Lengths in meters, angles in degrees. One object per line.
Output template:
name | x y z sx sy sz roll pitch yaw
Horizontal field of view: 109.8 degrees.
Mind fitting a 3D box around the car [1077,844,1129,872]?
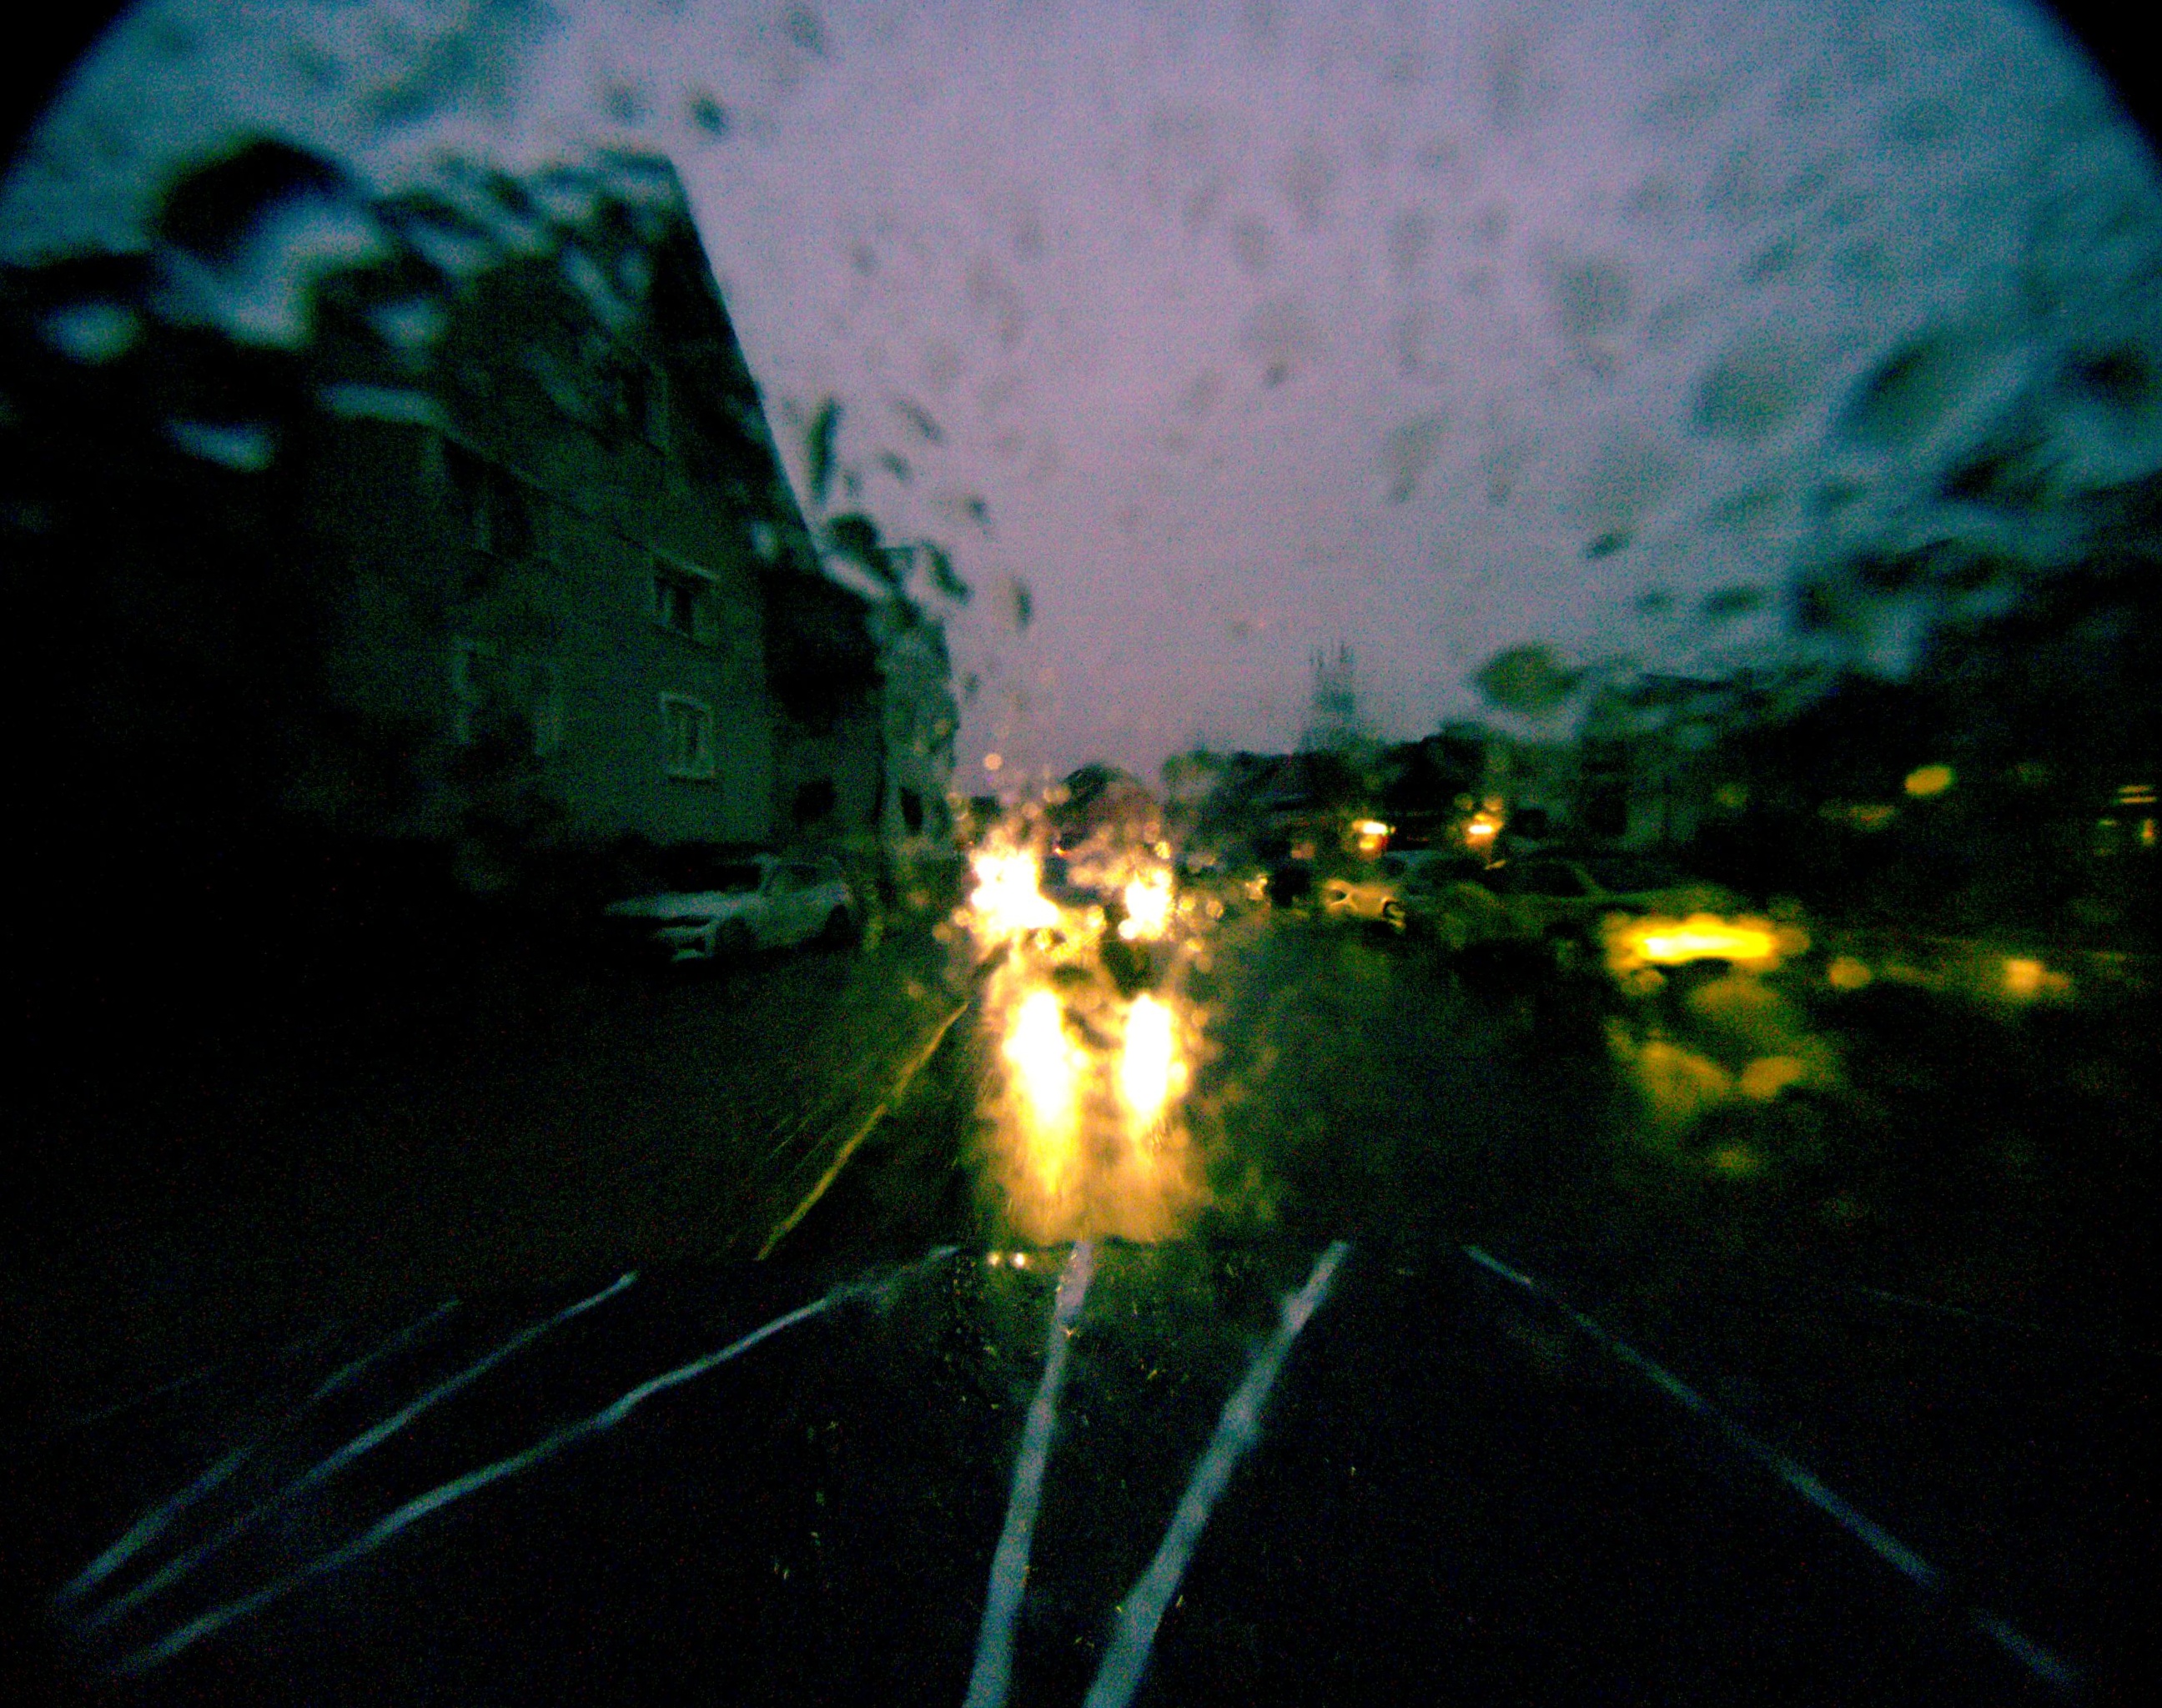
car | 1.706 0.302 60.152 3.997 2.002 2.000 -2 0 1

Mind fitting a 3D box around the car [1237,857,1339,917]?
car | 6.032 0.893 22.644 1.840 1.526 4.139 -2 0 0

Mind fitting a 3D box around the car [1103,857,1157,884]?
car | 2.746 0.920 43.619 1.984 1.438 3.909 -2 0 -14

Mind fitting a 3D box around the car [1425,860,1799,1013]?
car | 6.233 0.837 9.689 1.698 1.423 4.377 -2 0 0

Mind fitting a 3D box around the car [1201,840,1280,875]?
car | 8.412 0.167 40.070 3.992 1.753 1.435 -1 1 14

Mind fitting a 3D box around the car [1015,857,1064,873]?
car | -3.822 0.979 70.245 4.005 1.291 1.996 -2 0 -27

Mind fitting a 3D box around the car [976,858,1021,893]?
car | -5.167 1.304 47.218 2.001 2.002 3.994 -2 0 -17

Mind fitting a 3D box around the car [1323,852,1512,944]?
car | 6.465 0.759 15.077 1.880 1.526 3.670 -2 0 -4

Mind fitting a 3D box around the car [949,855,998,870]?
car | -10.111 0.791 71.514 4.249 1.291 1.997 -2 0 -17

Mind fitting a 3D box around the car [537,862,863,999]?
car | -5.225 0.949 11.366 1.933 1.477 4.699 -2 1 9

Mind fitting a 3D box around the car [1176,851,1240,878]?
car | 7.918 0.636 47.548 3.839 1.537 2.001 -2 0 8

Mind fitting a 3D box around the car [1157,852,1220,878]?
car | 7.159 0.701 50.217 3.994 1.538 2.001 -2 0 10

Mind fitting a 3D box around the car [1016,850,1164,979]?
car | 0.125 0.838 12.554 1.998 1.720 4.000 -2 0 0

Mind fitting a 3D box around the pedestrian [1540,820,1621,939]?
pedestrian | 8.645 0.437 13.190 0.902 2.002 0.791 -1 0 9

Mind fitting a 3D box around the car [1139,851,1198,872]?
car | 6.103 0.498 53.175 3.995 1.291 2.001 -2 0 5
